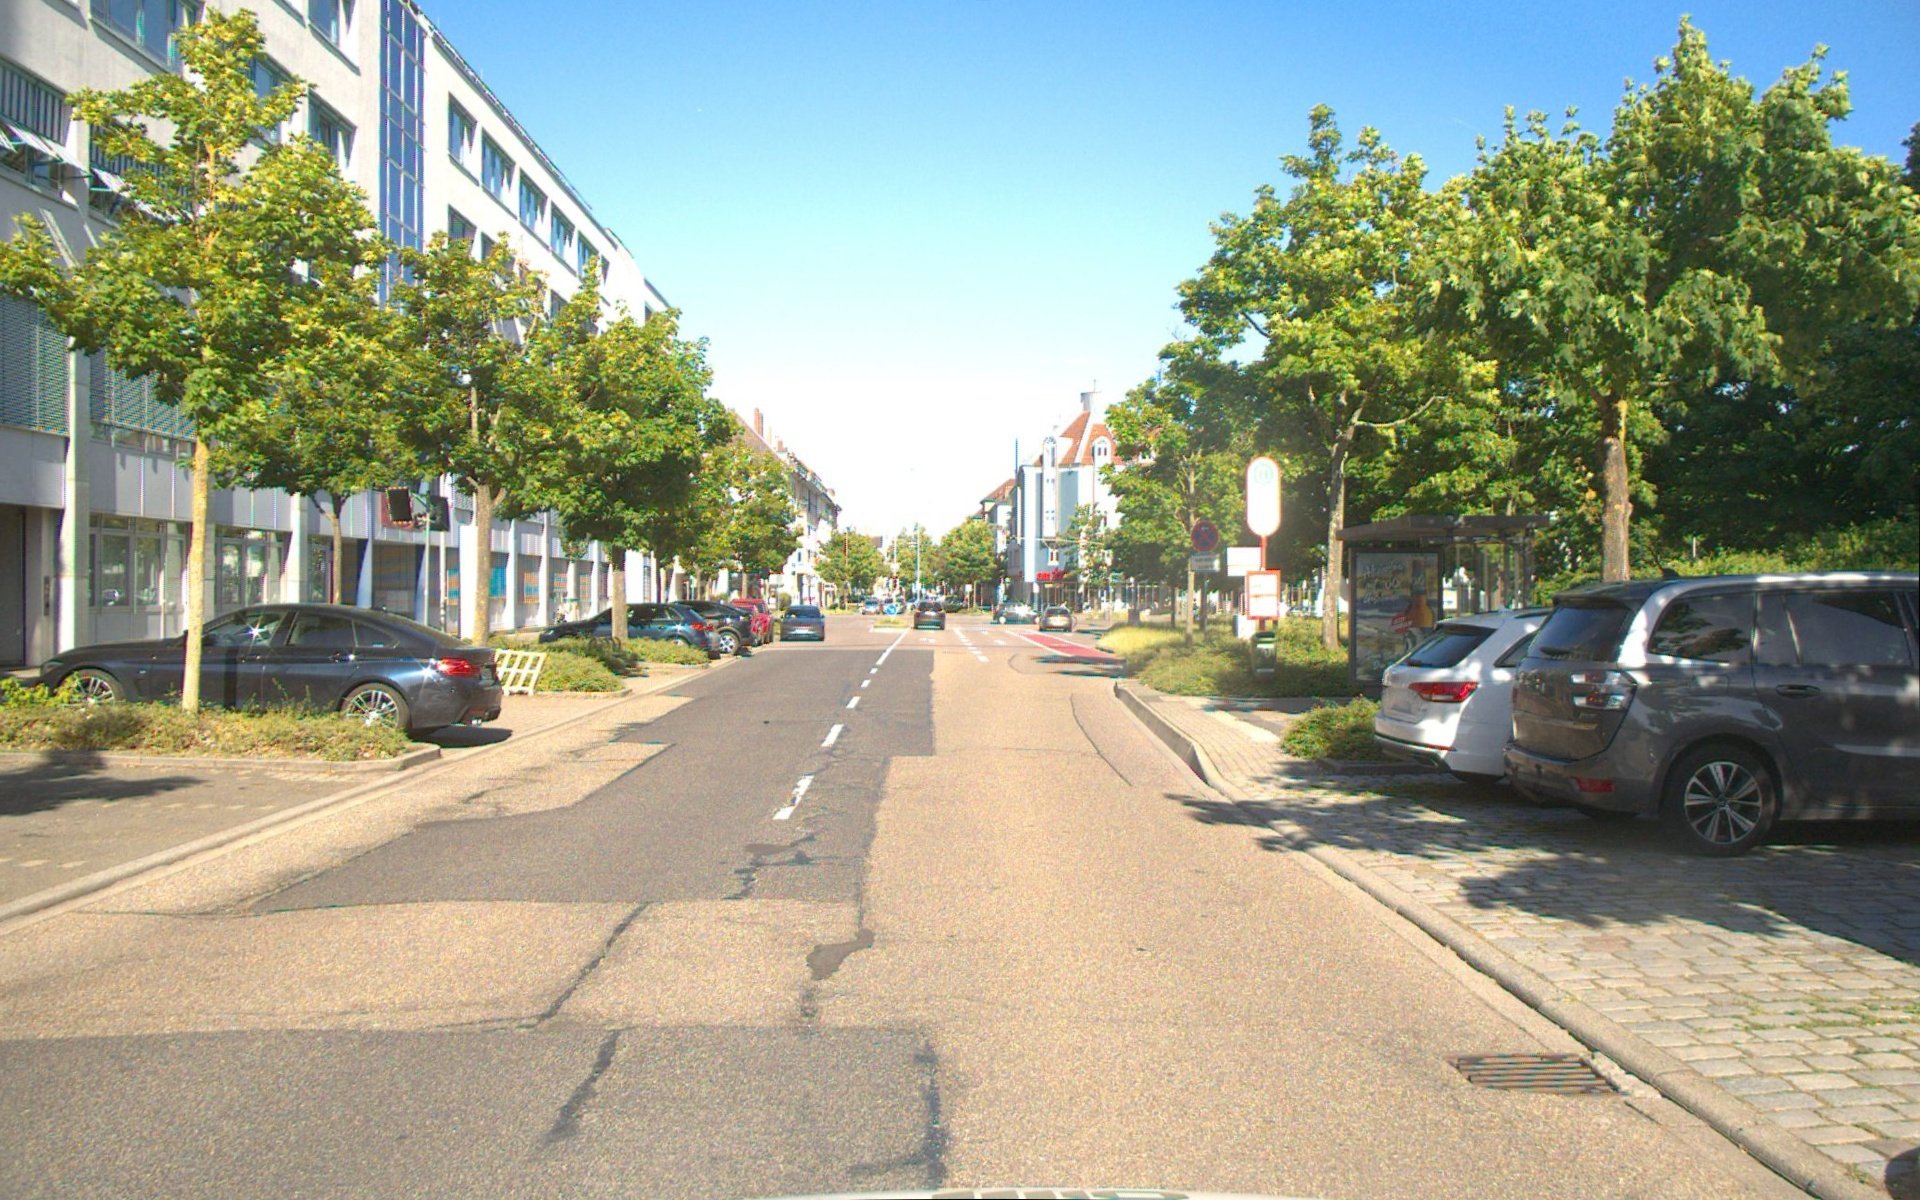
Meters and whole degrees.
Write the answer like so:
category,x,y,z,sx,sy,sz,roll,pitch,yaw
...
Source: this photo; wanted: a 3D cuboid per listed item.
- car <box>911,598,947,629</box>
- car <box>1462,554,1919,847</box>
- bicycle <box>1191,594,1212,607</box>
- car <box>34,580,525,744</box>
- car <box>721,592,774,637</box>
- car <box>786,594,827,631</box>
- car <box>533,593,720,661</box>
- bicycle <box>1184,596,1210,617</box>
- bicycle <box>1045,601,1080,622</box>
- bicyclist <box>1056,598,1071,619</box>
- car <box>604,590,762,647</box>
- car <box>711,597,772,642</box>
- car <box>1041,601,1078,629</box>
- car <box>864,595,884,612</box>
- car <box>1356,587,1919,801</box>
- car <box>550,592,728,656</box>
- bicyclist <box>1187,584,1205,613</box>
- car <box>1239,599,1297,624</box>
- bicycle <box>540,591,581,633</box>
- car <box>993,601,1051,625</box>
category,x,y,z,sx,sy,sz,roll,pitch,yaw
car,-1.818,0.743,95.381,1.720,1.656,4.473,2,0,-5
car,5.727,0.560,10.692,4.313,1.670,2.074,-1,0,-1
bicycle,22.501,0.079,154.296,1.827,1.203,0.561,0,0,-6
car,-6.979,0.620,17.393,4.300,1.457,1.975,3,0,-5
car,-8.141,0.529,63.630,1.654,1.635,4.308,2,0,-3
car,-6.403,0.496,69.306,1.655,1.494,4.543,-1,0,-4
car,-8.196,0.653,40.954,4.300,1.457,1.692,3,0,-5
bicycle,15.881,0.400,110.934,0.777,1.371,2.254,0,0,36
bicycle,6.790,0.730,109.150,2.215,1.371,0.790,0,0,34
bicyclist,6.812,0.550,109.146,0.689,1.371,0.790,0,0,33
car,-7.980,0.527,47.875,4.299,1.457,1.692,3,0,-4
car,-7.681,0.650,58.420,1.654,1.457,3.870,2,0,-1
car,5.980,0.892,99.930,1.655,1.605,3.868,2,0,-4
car,-8.572,0.339,164.428,1.718,1.583,3.731,2,0,0
car,5.503,0.672,12.971,4.313,1.489,1.895,-1,0,-1
car,-8.377,0.611,43.406,4.295,1.457,1.693,3,0,0
bicyclist,15.798,-0.102,110.784,0.777,1.993,1.007,0,0,36
car,21.755,0.826,116.999,3.778,1.605,1.694,3,0,3
bicycle,-13.478,0.396,55.877,0.694,1.371,2.233,-1,0,4
car,4.268,0.885,114.327,3.872,1.628,1.675,-1,0,-4
